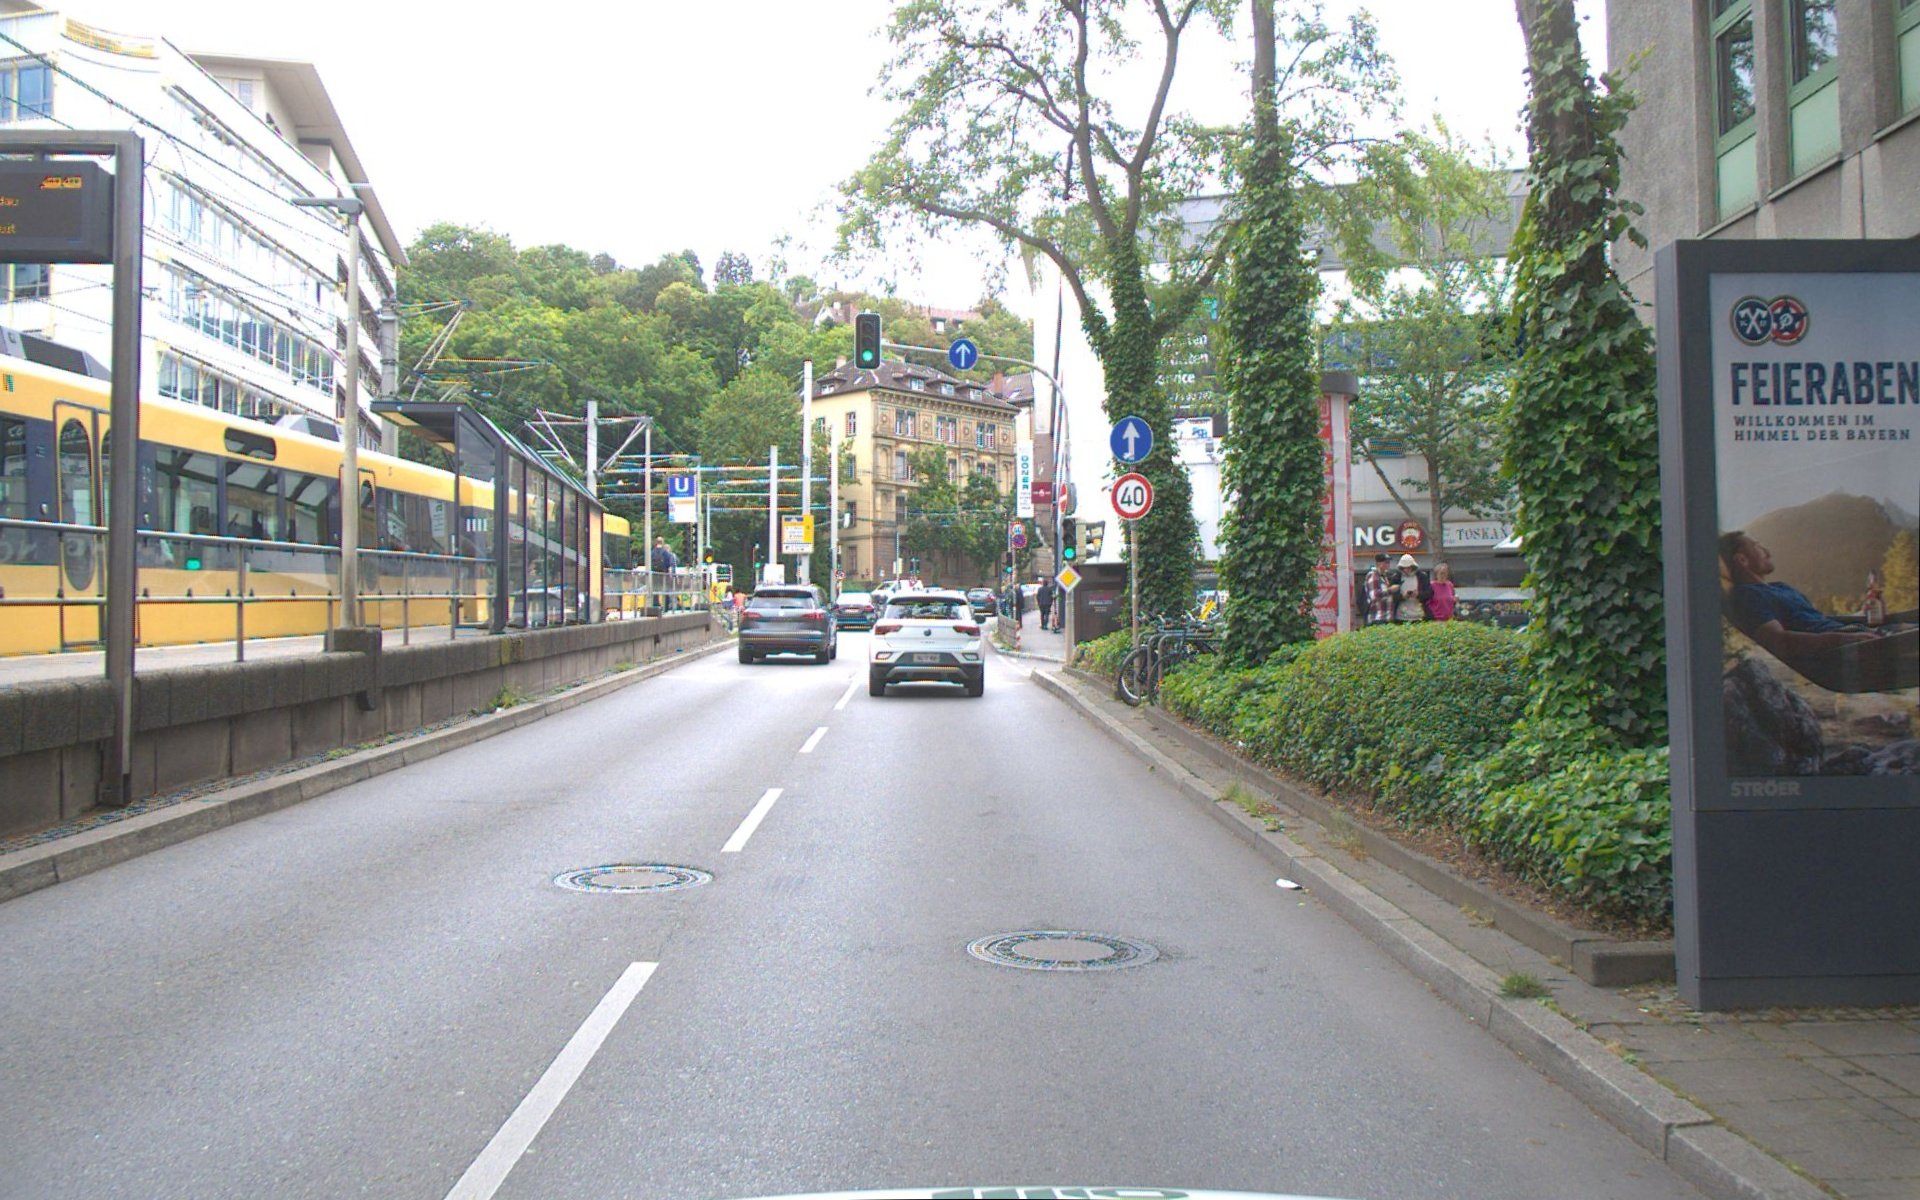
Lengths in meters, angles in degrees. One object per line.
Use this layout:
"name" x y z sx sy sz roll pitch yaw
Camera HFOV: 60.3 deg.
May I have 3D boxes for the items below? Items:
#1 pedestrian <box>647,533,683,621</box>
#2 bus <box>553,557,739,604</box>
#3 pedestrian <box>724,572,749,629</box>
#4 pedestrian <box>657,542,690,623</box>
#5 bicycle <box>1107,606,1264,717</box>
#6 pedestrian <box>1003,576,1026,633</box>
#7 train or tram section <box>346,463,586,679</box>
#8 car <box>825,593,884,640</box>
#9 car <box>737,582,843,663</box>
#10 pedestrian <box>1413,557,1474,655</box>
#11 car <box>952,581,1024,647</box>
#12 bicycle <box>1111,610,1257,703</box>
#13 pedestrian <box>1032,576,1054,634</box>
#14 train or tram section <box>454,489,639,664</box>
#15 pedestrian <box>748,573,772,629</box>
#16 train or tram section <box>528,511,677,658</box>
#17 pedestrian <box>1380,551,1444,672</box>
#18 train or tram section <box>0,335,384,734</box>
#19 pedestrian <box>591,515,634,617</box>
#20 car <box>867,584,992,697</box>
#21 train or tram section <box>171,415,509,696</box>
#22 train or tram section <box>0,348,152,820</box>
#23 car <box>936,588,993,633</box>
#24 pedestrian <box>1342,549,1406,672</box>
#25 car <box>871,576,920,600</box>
"pedestrian" -7.022 -0.536 39.379 0.747 2.049 0.837 1 -2 -7
"bus" -22.078 -1.354 116.007 13.008 3.119 3.382 0 -2 22
"pedestrian" -8.185 0.022 60.581 0.746 2.049 0.838 1 -2 -1
"pedestrian" -7.447 -0.444 43.038 0.747 2.049 0.837 1 -2 -7
"bicycle" 2.746 0.743 20.074 1.840 1.288 0.765 1 -2 10
"pedestrian" 1.995 0.180 60.530 0.746 2.049 0.839 1 -2 5
"train or tram section" -9.431 -0.475 32.416 2.756 3.731 6.749 1 -1 -1
"car" -4.050 0.595 63.969 1.872 1.719 4.001 1 0 2
"car" -3.659 0.462 36.200 1.953 1.664 3.999 0 0 -1
"pedestrian" 7.041 0.092 24.093 0.626 1.392 0.584 2 -2 -21
"car" 0.727 0.436 45.840 1.846 1.713 4.160 1 -2 -1
"bicycle" 2.905 0.727 21.568 1.841 1.157 0.808 1 -2 5
"pedestrian" 2.998 0.189 59.994 0.746 2.049 0.839 1 -2 5
"train or tram section" -9.590 -0.473 39.164 2.756 3.731 6.749 1 -1 -1
"pedestrian" -7.376 0.050 61.094 0.746 2.049 0.838 1 -2 0
"train or tram section" -9.773 -0.369 45.929 2.756 3.731 6.749 1 -1 -1
"pedestrian" 6.222 0.163 22.787 0.626 1.636 0.584 2 -2 -21
"train or tram section" -9.108 -0.593 18.887 2.756 3.731 6.749 1 -1 -1
"pedestrian" -7.122 -0.685 33.961 0.747 2.049 0.837 1 -2 -7
"car" -0.408 0.597 26.161 1.799 1.611 4.157 -1 0 1
"train or tram section" -9.259 -0.564 25.644 2.756 3.731 6.749 1 -1 -1
"train or tram section" -8.946 -0.150 12.138 2.756 3.731 6.749 1 -1 -1
"car" 0.142 0.464 67.964 1.849 1.713 4.154 1 -2 -7
"pedestrian" 5.643 0.151 22.539 0.626 1.643 0.584 2 -2 -21
"car" -5.039 -0.932 129.268 1.878 1.719 3.989 1 0 33
